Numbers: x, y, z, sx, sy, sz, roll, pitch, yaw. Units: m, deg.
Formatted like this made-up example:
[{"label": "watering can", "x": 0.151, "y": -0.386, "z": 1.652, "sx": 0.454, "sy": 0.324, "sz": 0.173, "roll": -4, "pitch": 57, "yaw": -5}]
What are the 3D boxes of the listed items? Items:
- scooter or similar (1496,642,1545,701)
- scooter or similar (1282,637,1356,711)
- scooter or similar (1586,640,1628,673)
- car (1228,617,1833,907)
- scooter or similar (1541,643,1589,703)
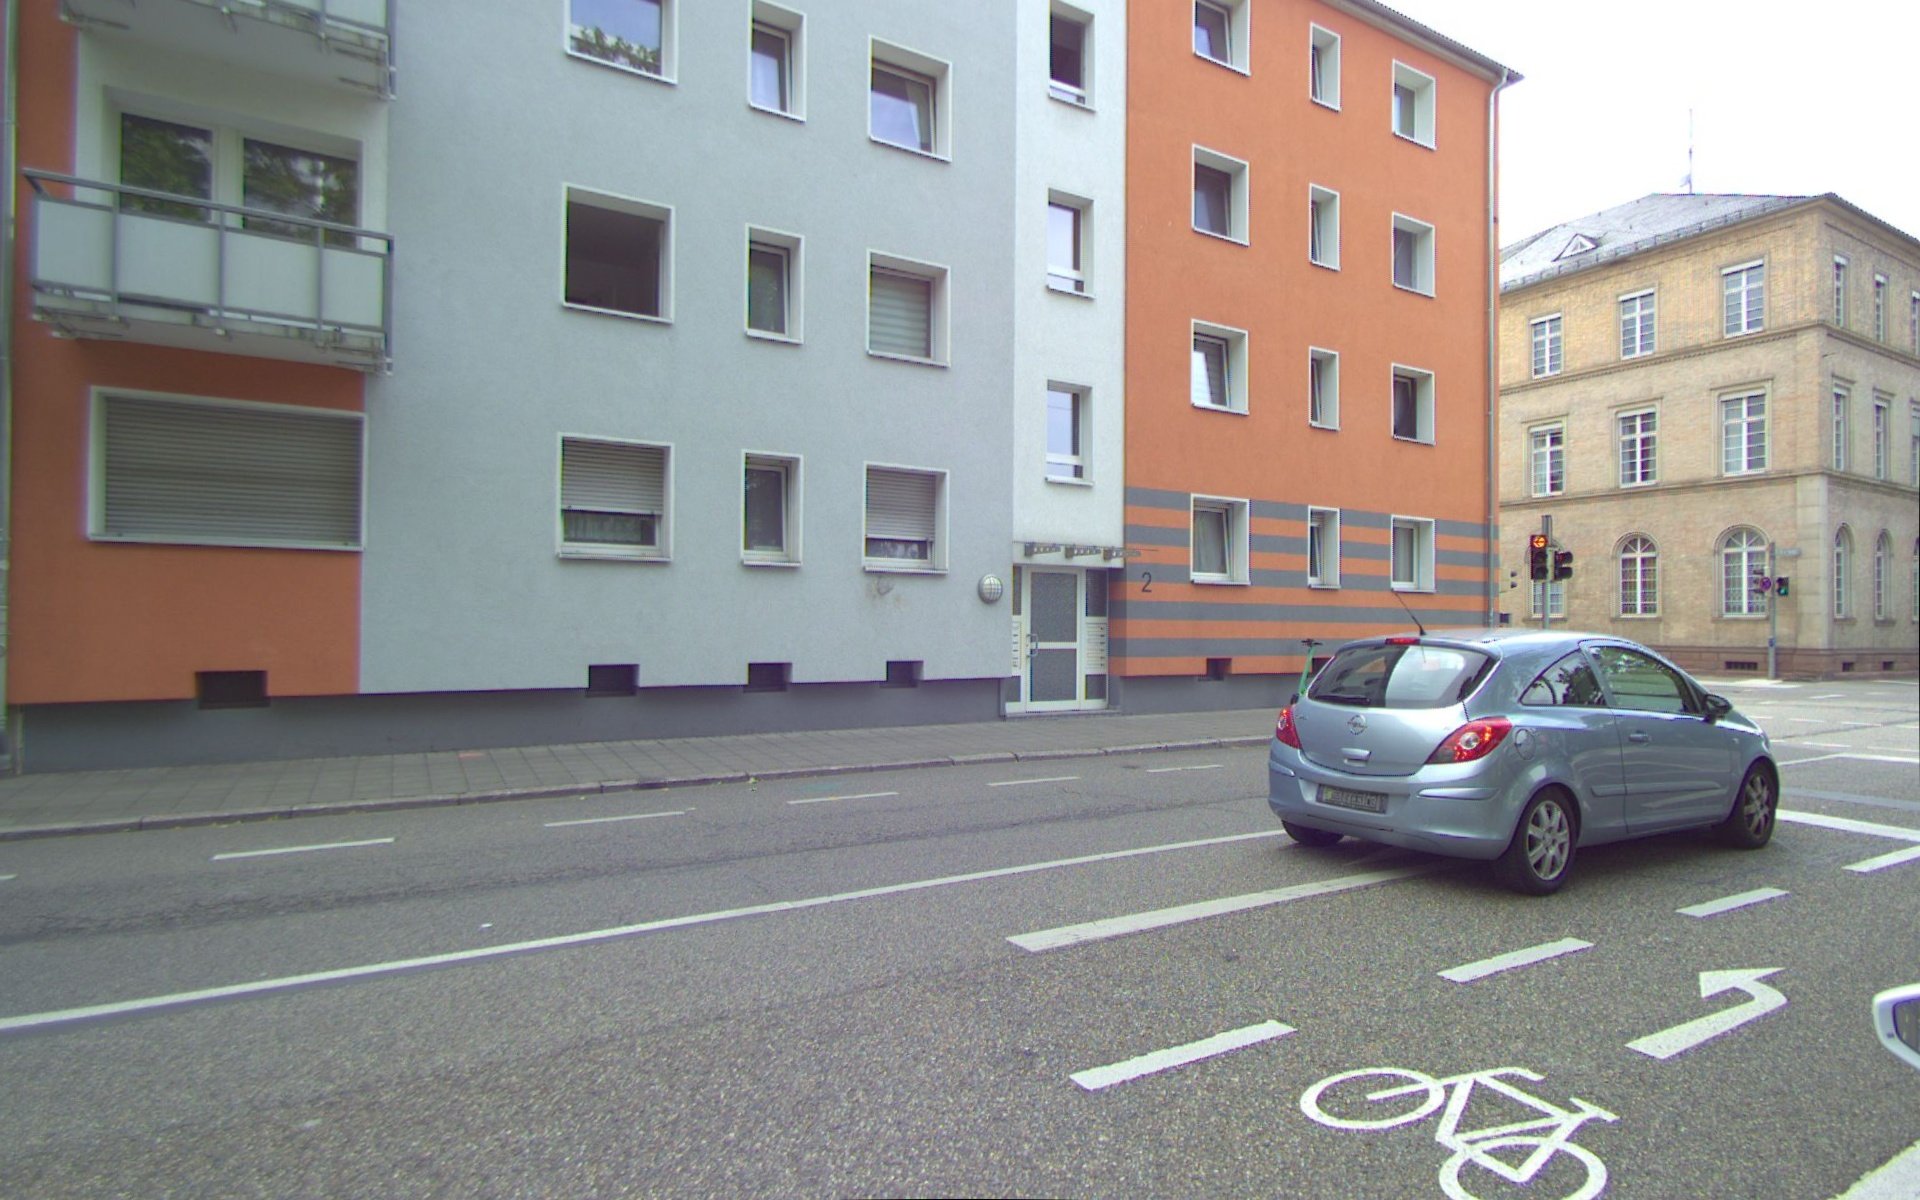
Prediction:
[{"label": "scooter or similar", "x": 11.304, "y": 1.434, "z": 20.245, "sx": 1.130, "sy": 1.162, "sz": 0.376, "roll": 3, "pitch": -2, "yaw": -34}, {"label": "scooter or similar", "x": 6.085, "y": 1.250, "z": 16.996, "sx": 1.373, "sy": 1.199, "sz": 0.376, "roll": 3, "pitch": -2, "yaw": -30}, {"label": "scooter or similar", "x": 21.440, "y": 1.858, "z": 33.314, "sx": 0.375, "sy": 1.063, "sz": 1.133, "roll": 3, "pitch": -2, "yaw": -29}, {"label": "car", "x": 3.975, "y": 0.877, "z": 6.829, "sx": 4.204, "sy": 1.439, "sz": 1.704, "roll": 1, "pitch": -3, "yaw": -31}, {"label": "scooter or similar", "x": 12.051, "y": 1.450, "z": 20.002, "sx": 1.130, "sy": 1.159, "sz": 0.376, "roll": 3, "pitch": -2, "yaw": -34}]
